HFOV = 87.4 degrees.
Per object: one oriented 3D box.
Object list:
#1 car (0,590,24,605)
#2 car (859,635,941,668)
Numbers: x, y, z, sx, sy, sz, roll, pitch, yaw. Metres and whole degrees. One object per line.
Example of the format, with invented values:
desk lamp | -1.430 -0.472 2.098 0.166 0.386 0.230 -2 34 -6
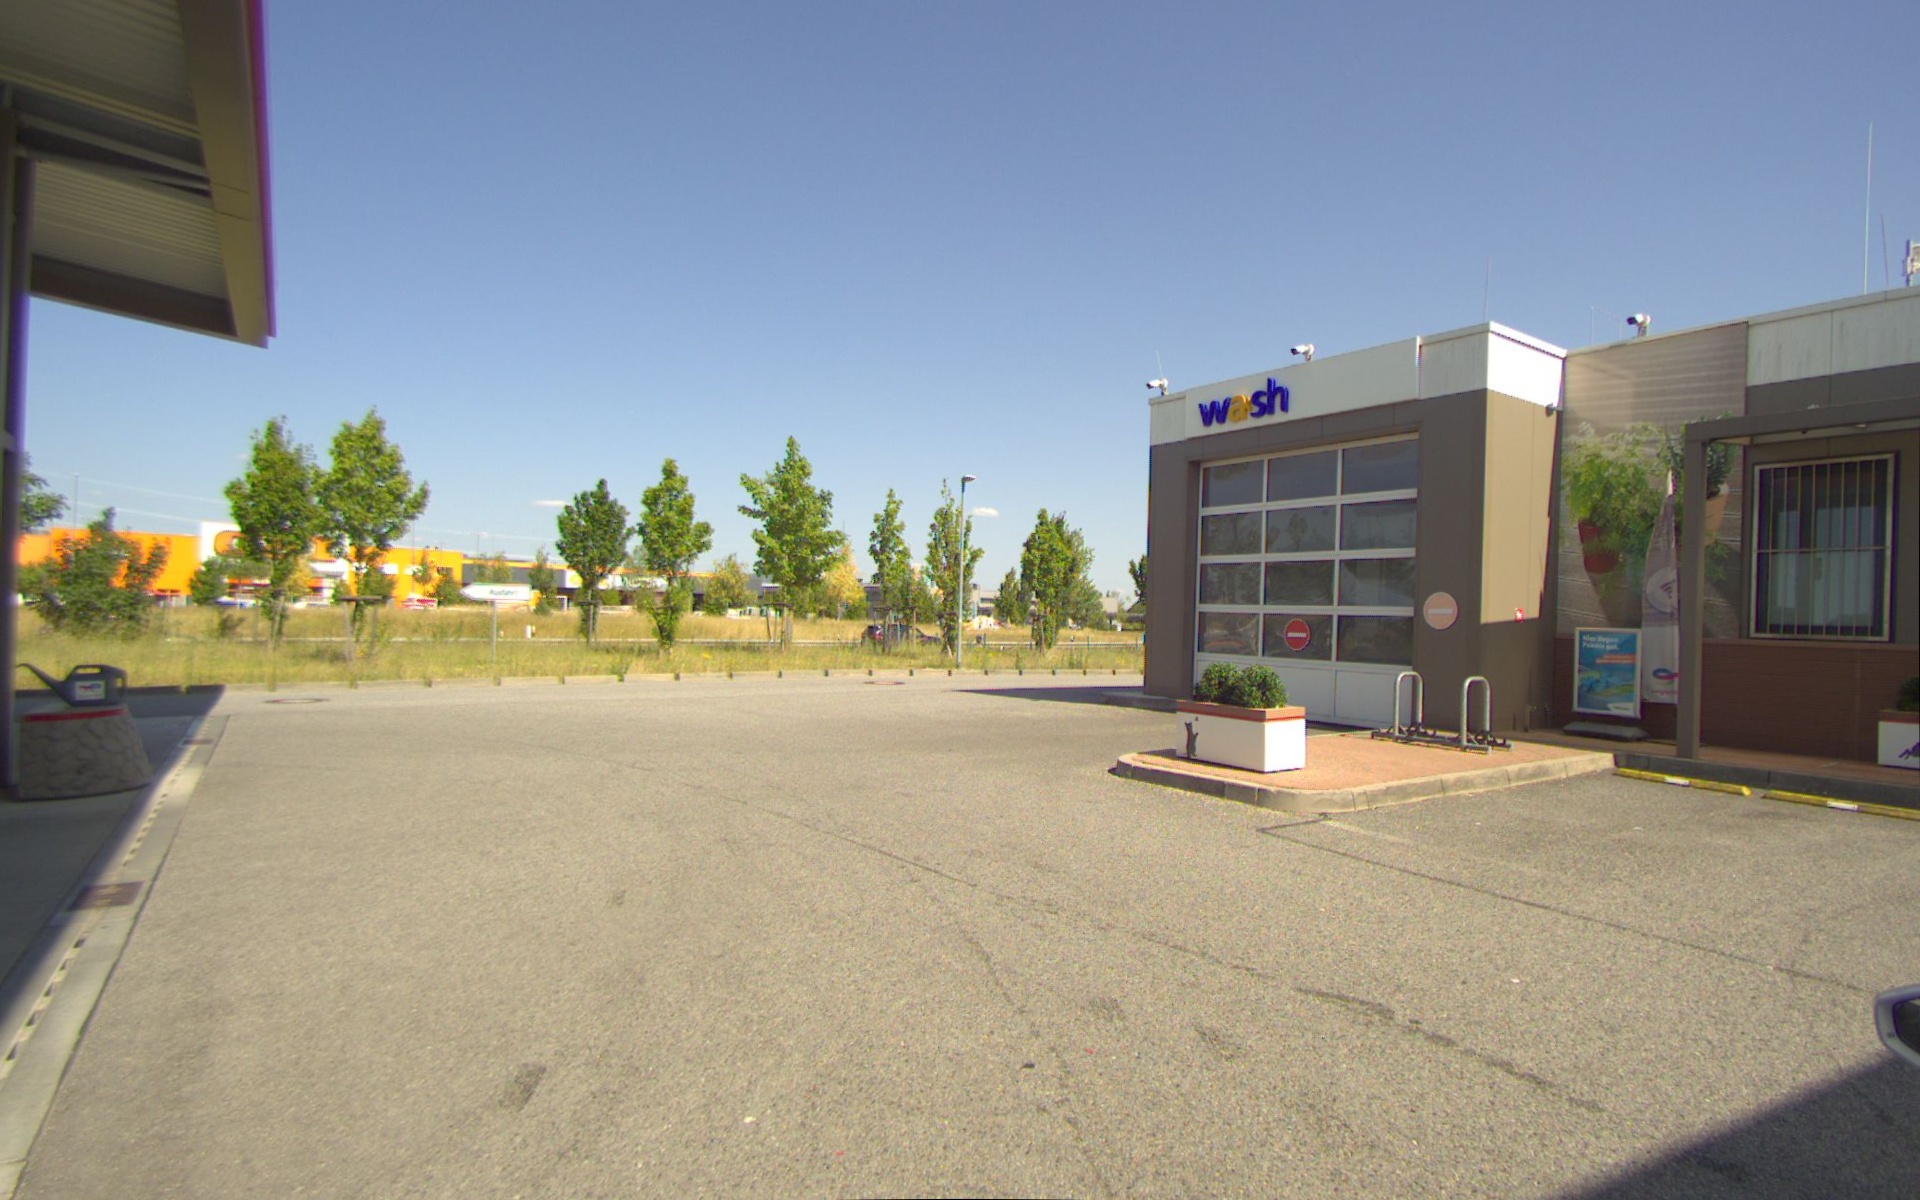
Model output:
car | -89.025 -0.250 93.199 2.914 1.316 1.473 2 -1 -33
car | -3.147 2.708 53.102 3.958 1.639 1.806 1 -1 -33
